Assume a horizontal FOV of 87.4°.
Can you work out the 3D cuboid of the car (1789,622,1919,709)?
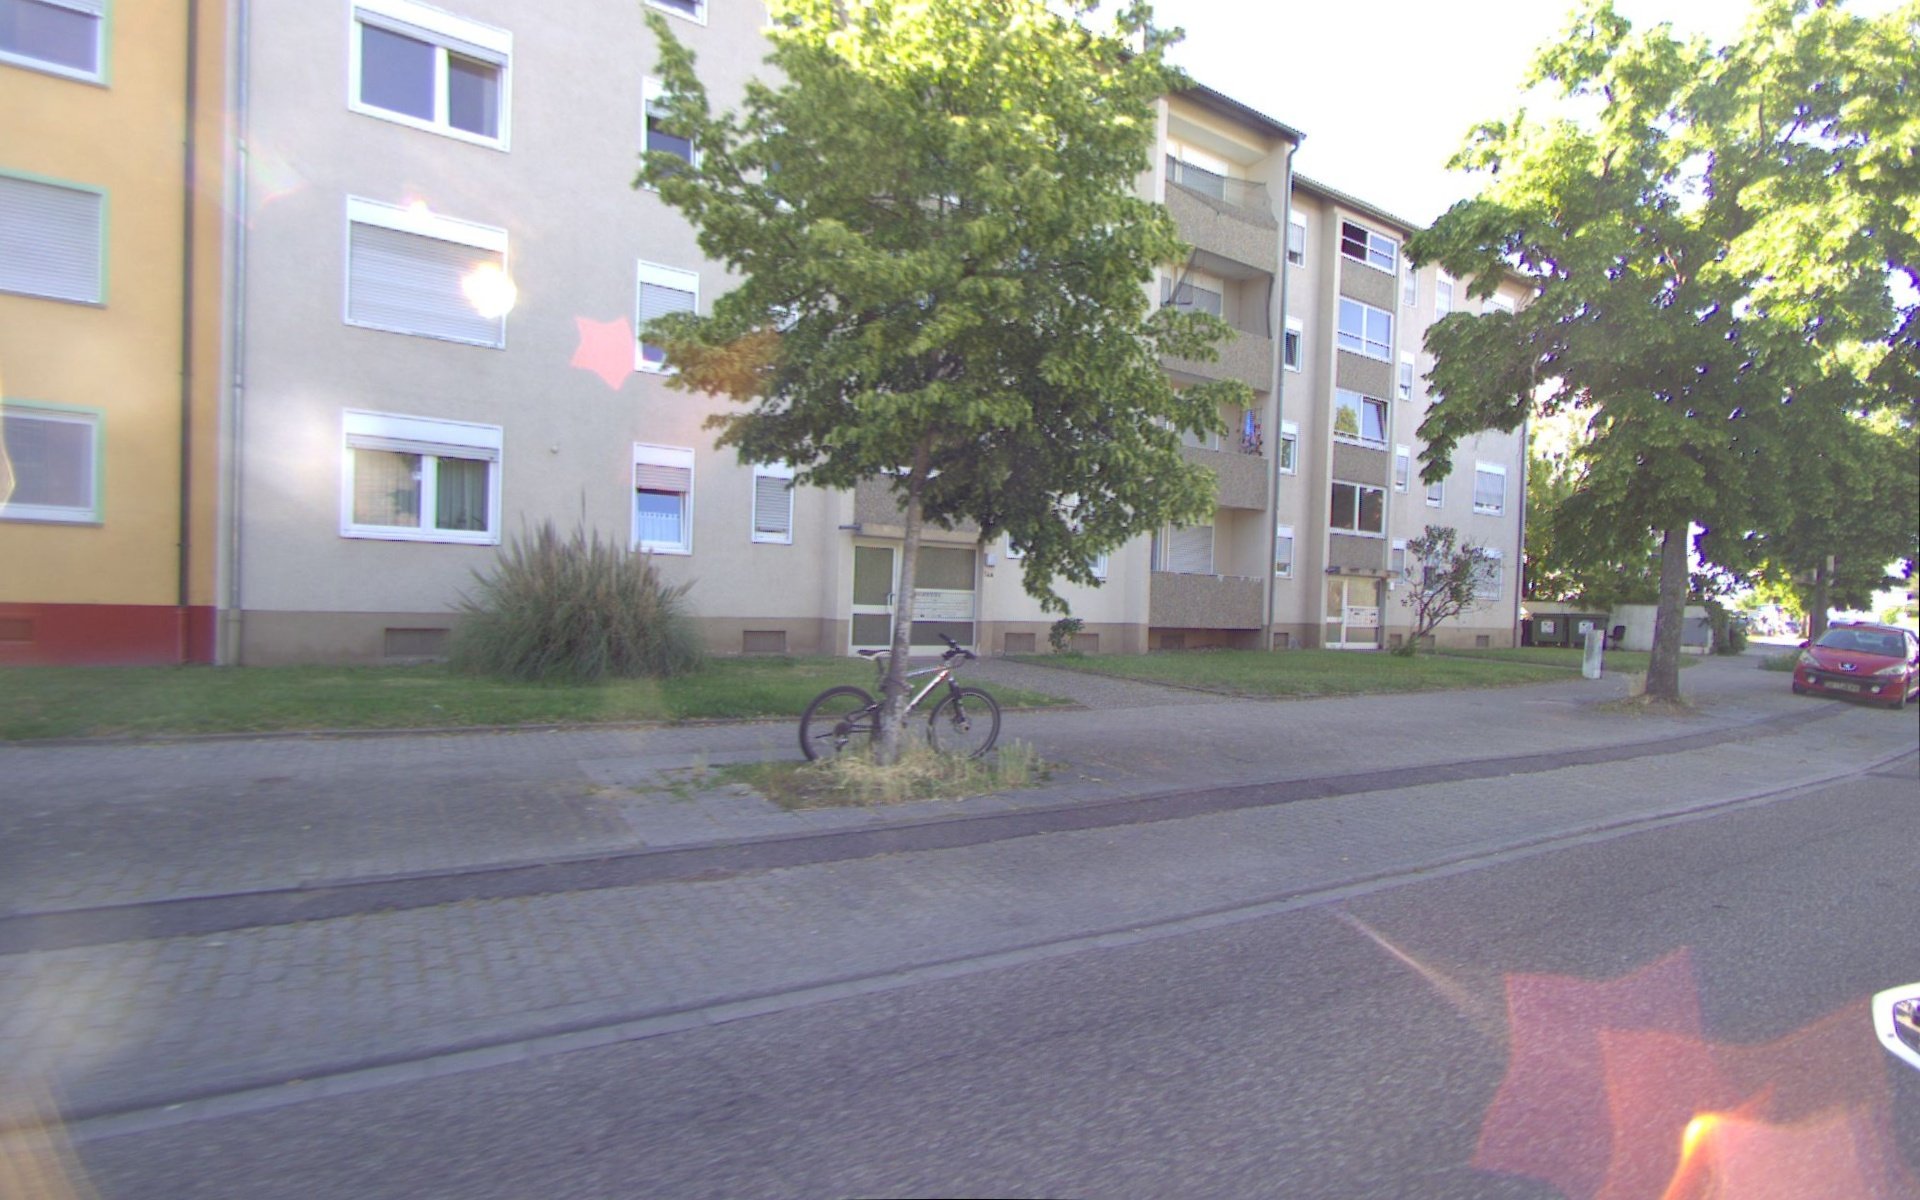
[{"bbox_3d":[18.604,1.287,20.668,4.258,1.511,1.673,2,1,-41],"label":"car"}]

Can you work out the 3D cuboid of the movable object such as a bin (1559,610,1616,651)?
[{"bbox_3d":[23.667,1.130,37.885,1.079,1.446,1.505,4,-1,-40],"label":"movable object such as a bin"}]

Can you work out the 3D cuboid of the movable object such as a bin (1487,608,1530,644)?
[{"bbox_3d":[21.871,1.031,40.047,1.079,1.338,1.162,4,-1,-40],"label":"movable object such as a bin"}]

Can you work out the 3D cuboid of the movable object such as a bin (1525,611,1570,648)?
[{"bbox_3d":[22.786,1.139,38.969,1.079,1.338,1.162,4,-1,-40],"label":"movable object such as a bin"}]

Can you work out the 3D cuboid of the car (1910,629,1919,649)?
[{"bbox_3d":[107.724,4.417,112.486,1.729,2.040,3.932,2,-2,41],"label":"car"}]

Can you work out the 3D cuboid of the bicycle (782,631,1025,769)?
[{"bbox_3d":[-0.410,0.753,7.789,1.859,0.981,0.366,2,0,-25],"label":"bicycle"}]

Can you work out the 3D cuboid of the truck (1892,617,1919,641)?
[{"bbox_3d":[118.403,3.647,125.790,2.179,2.633,5.121,2,-2,40],"label":"truck"}]

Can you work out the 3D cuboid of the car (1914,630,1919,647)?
[{"bbox_3d":[104.417,4.208,108.247,1.982,1.747,4.274,2,-1,40],"label":"car"}]

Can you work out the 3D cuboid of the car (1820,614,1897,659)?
[{"bbox_3d":[39.688,1.611,44.338,4.258,1.652,1.819,2,7,-41],"label":"car"}]

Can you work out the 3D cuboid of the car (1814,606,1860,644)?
[{"bbox_3d":[59.434,1.692,68.039,1.885,2.199,4.265,11,7,43],"label":"car"}]
